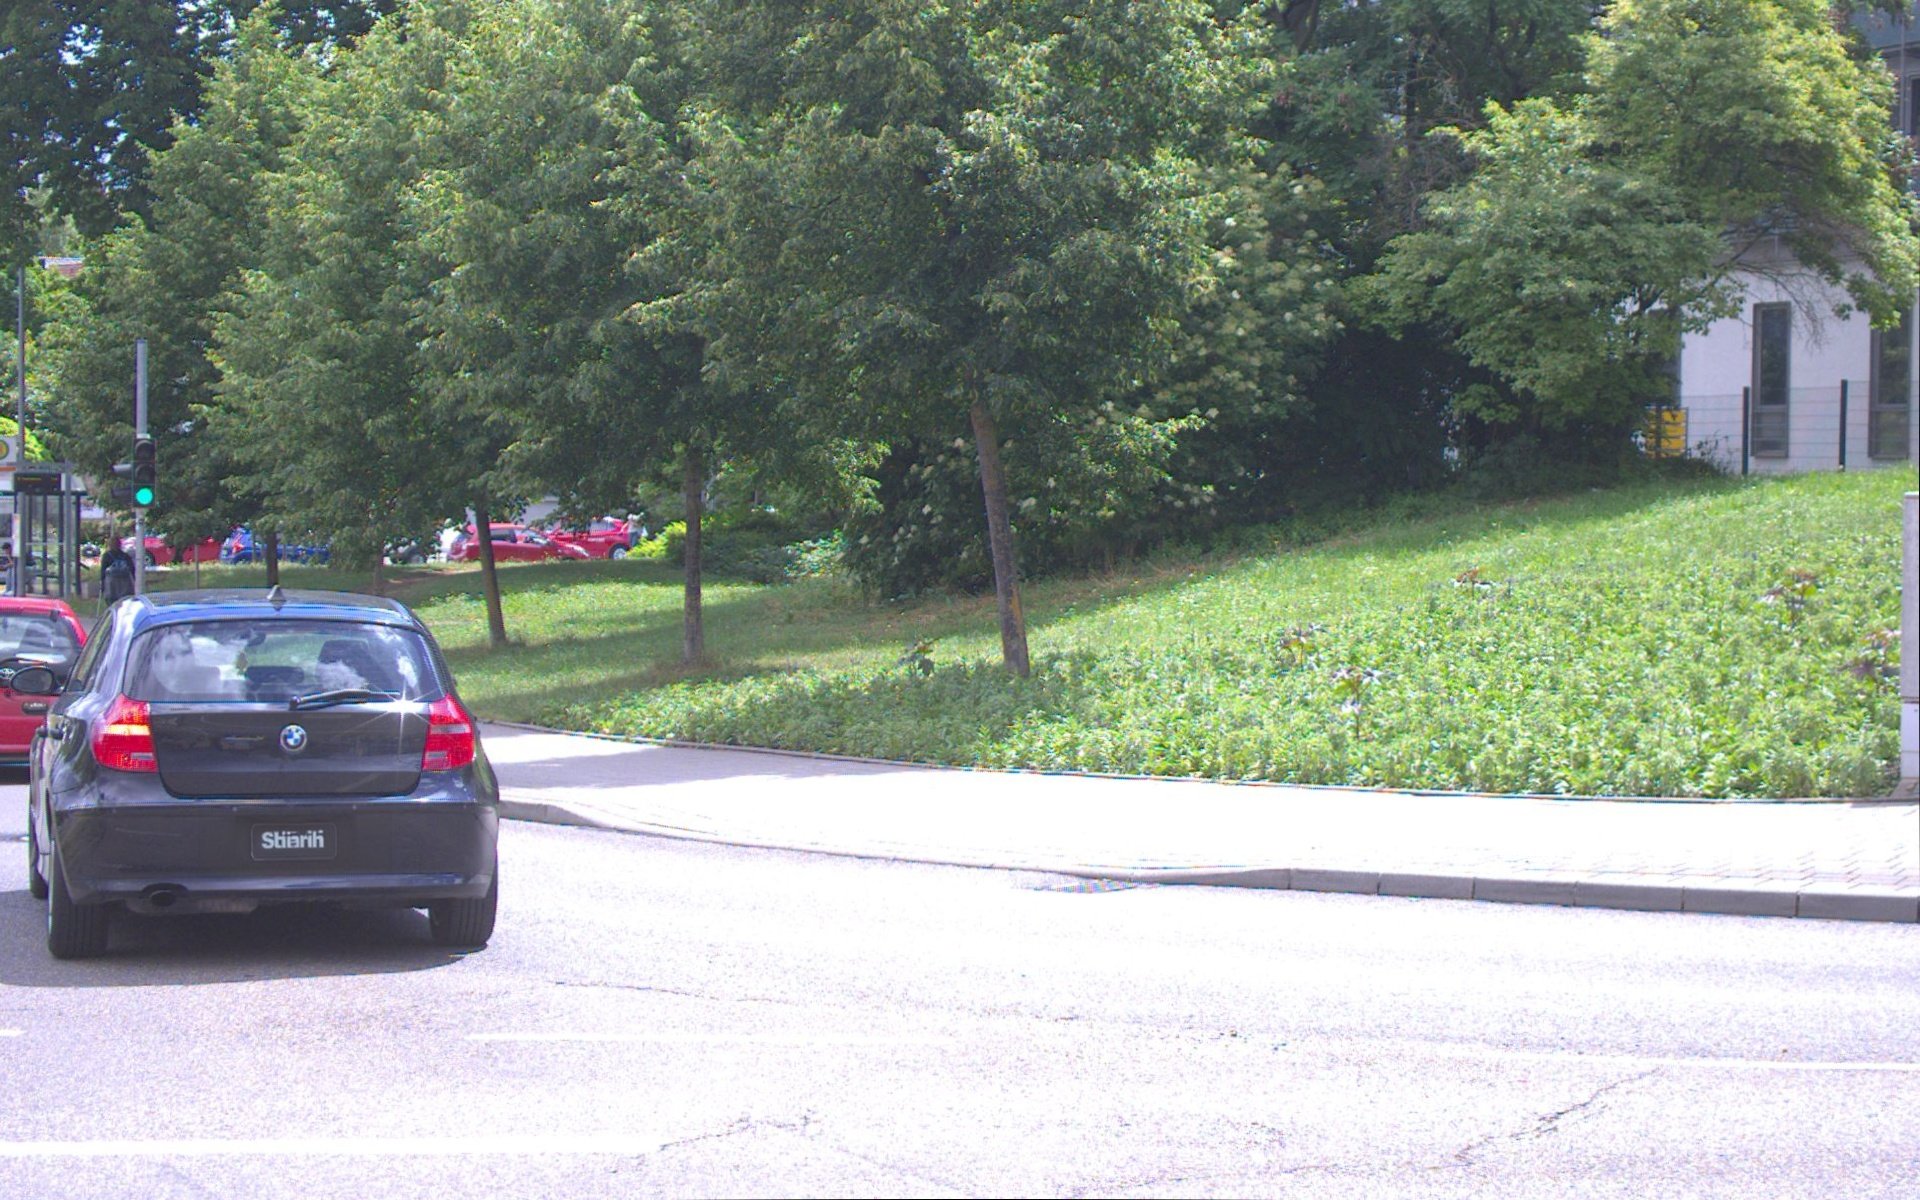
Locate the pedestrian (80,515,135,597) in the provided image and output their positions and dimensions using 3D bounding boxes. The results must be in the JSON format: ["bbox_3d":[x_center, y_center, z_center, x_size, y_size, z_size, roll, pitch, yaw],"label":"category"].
[{"bbox_3d":[-14.893,-0.767,60.060,0.819,1.420,0.830,0,1,-23],"label":"pedestrian"}]

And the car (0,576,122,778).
[{"bbox_3d":[-7.890,0.579,27.736,1.765,1.427,3.480,-1,2,-21],"label":"car"}]

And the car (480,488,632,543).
[{"bbox_3d":[-12.038,-2.534,102.425,4.080,1.497,2.001,-2,4,-25],"label":"car"}]

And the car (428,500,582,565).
[{"bbox_3d":[-12.185,-1.800,92.061,3.686,1.638,1.830,0,3,-25],"label":"car"}]

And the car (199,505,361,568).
[{"bbox_3d":[-17.730,-1.672,89.647,3.793,1.451,1.897,-2,4,-25],"label":"car"}]

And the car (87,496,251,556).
[{"bbox_3d":[-22.388,-2.102,97.310,4.155,1.556,2.001,-1,5,-28],"label":"car"}]

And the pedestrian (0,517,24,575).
[{"bbox_3d":[-21.212,-1.201,76.238,0.827,1.254,0.686,0,2,-20],"label":"pedestrian"}]

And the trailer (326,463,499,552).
[{"bbox_3d":[-16.018,-2.703,100.619,4.536,2.478,2.222,0,3,-25],"label":"trailer"}]

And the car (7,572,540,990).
[{"bbox_3d":[-3.031,0.634,14.547,1.815,1.416,4.001,-1,2,-17],"label":"car"}]
